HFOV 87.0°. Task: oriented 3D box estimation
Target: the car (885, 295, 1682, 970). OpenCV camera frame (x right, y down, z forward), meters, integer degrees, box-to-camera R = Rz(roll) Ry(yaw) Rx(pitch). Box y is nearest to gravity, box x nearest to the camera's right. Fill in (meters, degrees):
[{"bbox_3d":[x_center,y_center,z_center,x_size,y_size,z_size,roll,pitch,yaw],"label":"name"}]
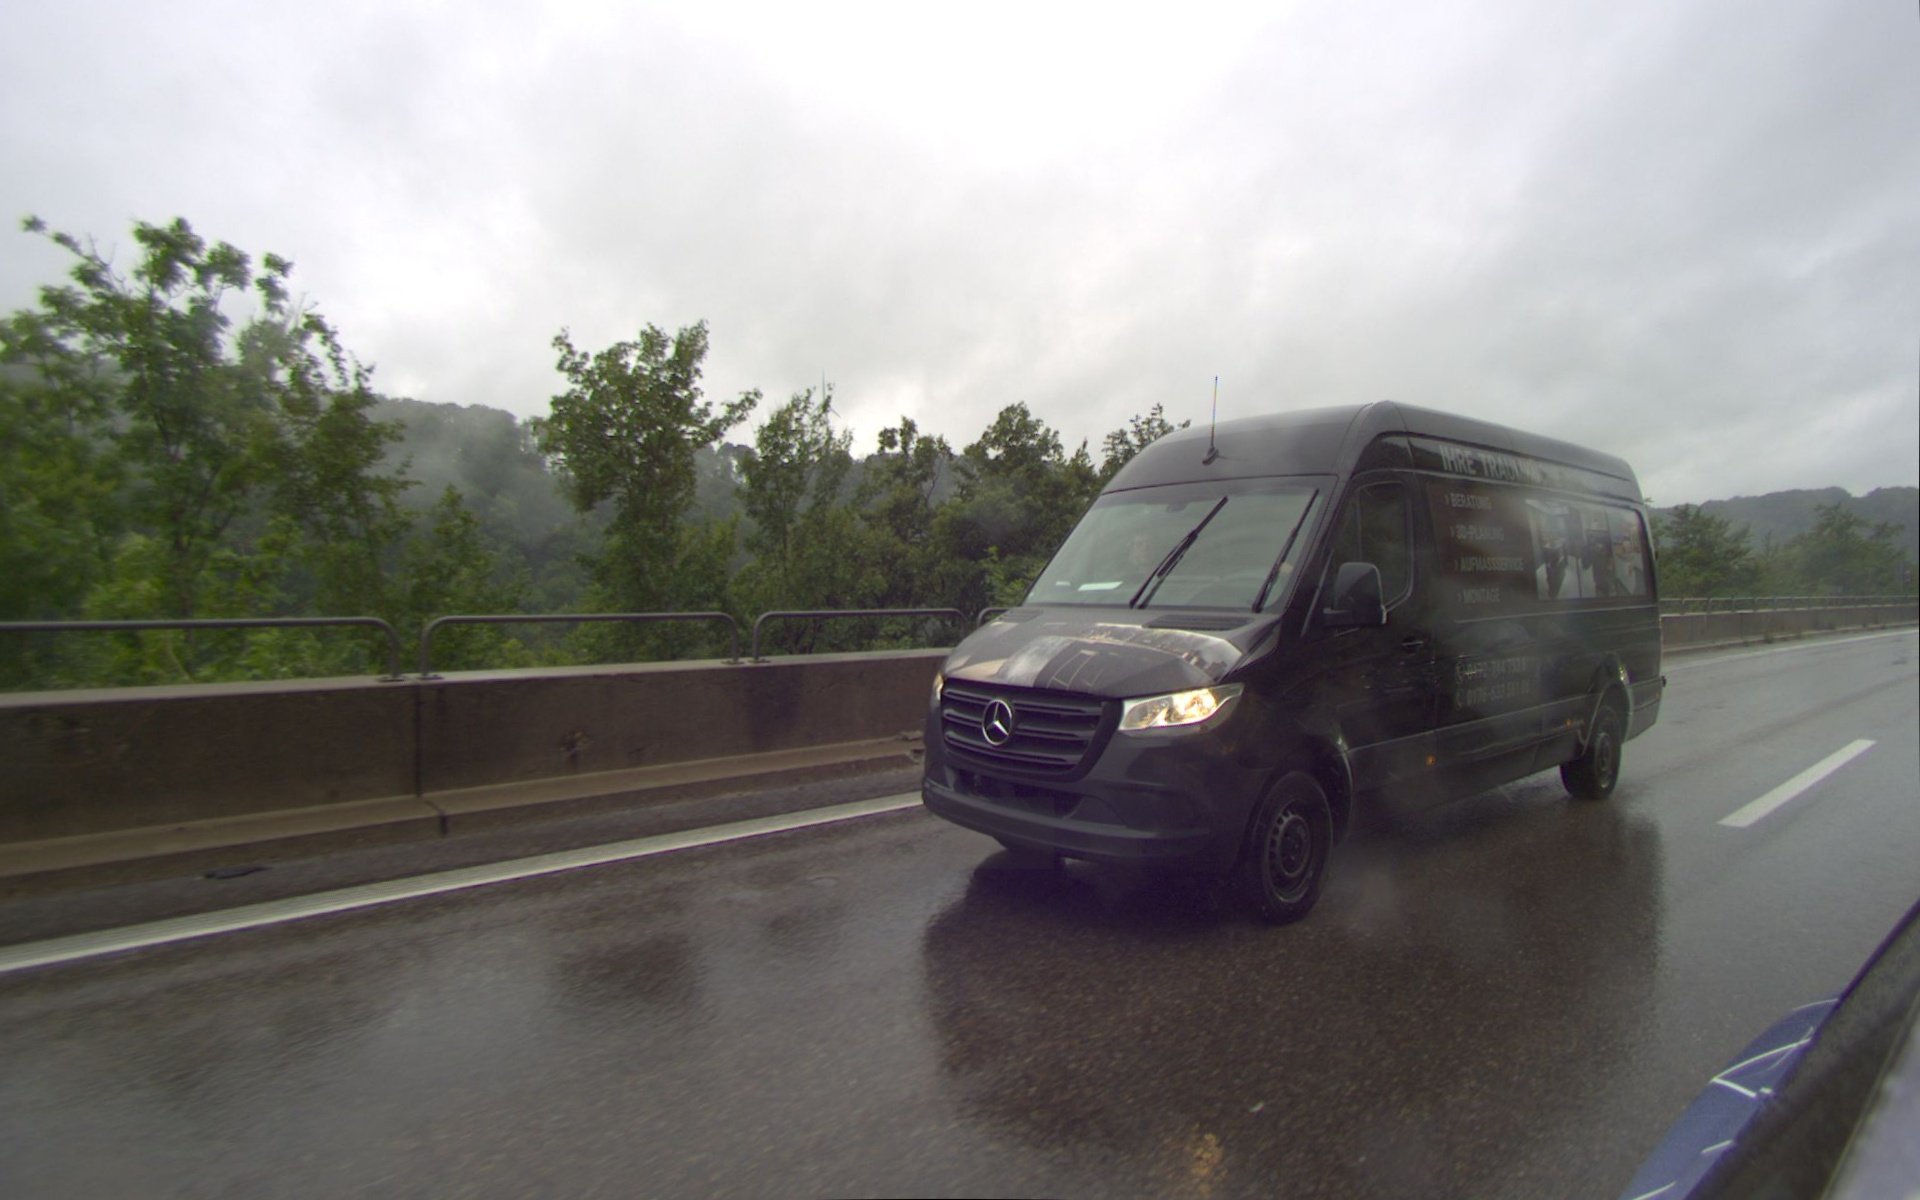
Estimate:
[{"bbox_3d":[2.724,0.091,6.746,6.589,2.525,1.997,0,1,-42],"label":"car"}]
